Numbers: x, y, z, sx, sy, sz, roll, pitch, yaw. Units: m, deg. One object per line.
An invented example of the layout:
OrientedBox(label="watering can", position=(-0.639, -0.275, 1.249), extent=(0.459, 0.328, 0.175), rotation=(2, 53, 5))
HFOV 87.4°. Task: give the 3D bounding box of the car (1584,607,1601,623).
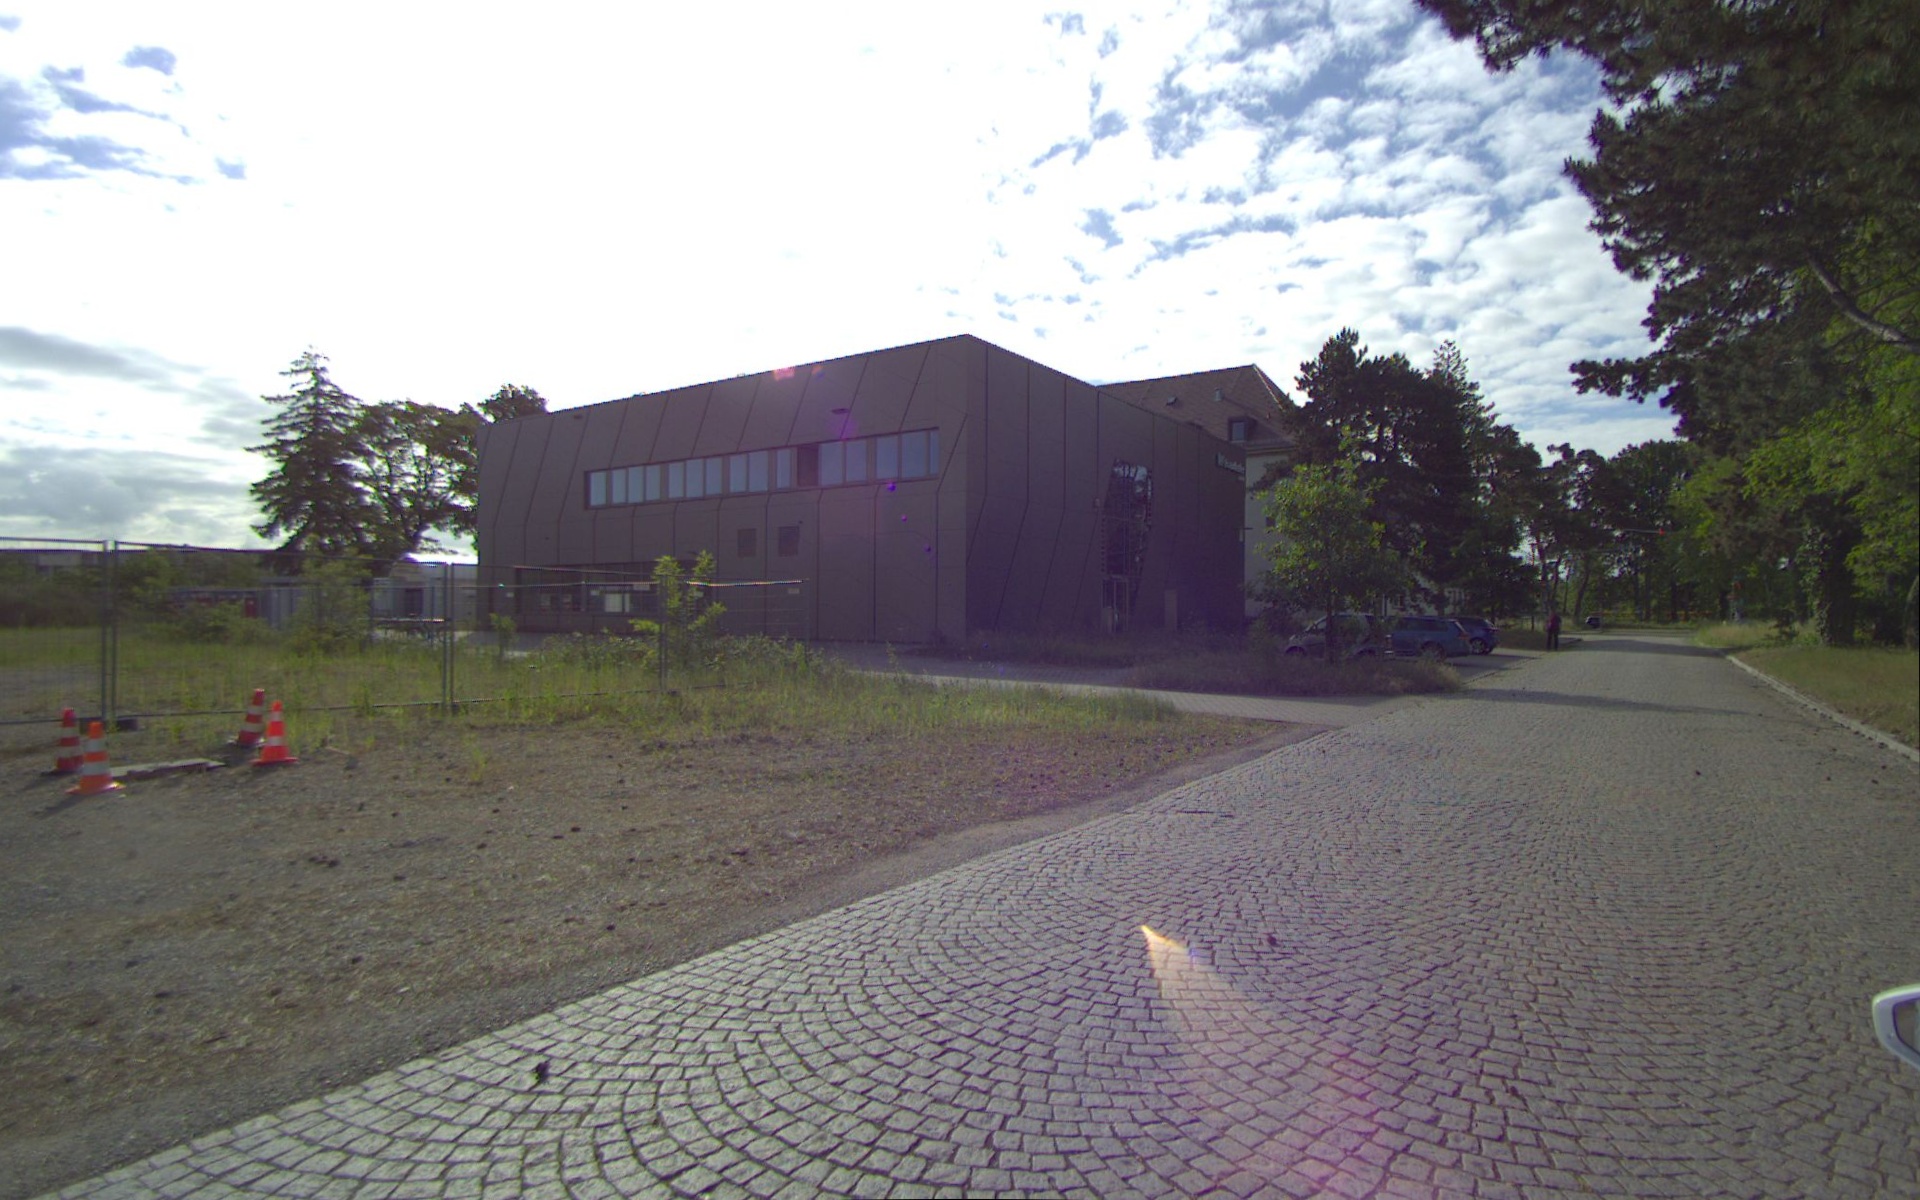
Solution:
OrientedBox(label="car", position=(80.030, 1.915, 127.043), extent=(1.675, 2.040, 3.987), rotation=(0, -1, 35))

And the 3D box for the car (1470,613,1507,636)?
OrientedBox(label="car", position=(39.012, 1.813, 74.092), extent=(1.967, 1.639, 3.987), rotation=(0, -1, 35))

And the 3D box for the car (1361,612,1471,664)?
OrientedBox(label="car", position=(14.613, 1.180, 32.192), extent=(3.039, 1.477, 1.489), rotation=(3, 1, 31))

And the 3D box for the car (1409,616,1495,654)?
OrientedBox(label="car", position=(19.610, 1.374, 40.053), extent=(3.038, 1.469, 1.489), rotation=(0, -1, 29))

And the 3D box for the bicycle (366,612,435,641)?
OrientedBox(label="bicycle", position=(-20.884, 0.976, 37.523), extent=(0.930, 1.058, 2.064), rotation=(0, 0, 33))

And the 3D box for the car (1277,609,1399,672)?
OrientedBox(label="car", position=(9.975, 1.021, 26.541), extent=(2.727, 1.570, 1.419), rotation=(0, -1, 39))

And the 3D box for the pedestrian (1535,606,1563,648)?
OrientedBox(label="pedestrian", position=(26.482, 1.192, 45.205), extent=(0.940, 1.868, 0.955), rotation=(0, 0, 21))

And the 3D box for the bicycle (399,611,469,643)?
OrientedBox(label="bicycle", position=(-19.007, 0.962, 36.332), extent=(0.930, 1.101, 2.064), rotation=(0, 0, 33))
